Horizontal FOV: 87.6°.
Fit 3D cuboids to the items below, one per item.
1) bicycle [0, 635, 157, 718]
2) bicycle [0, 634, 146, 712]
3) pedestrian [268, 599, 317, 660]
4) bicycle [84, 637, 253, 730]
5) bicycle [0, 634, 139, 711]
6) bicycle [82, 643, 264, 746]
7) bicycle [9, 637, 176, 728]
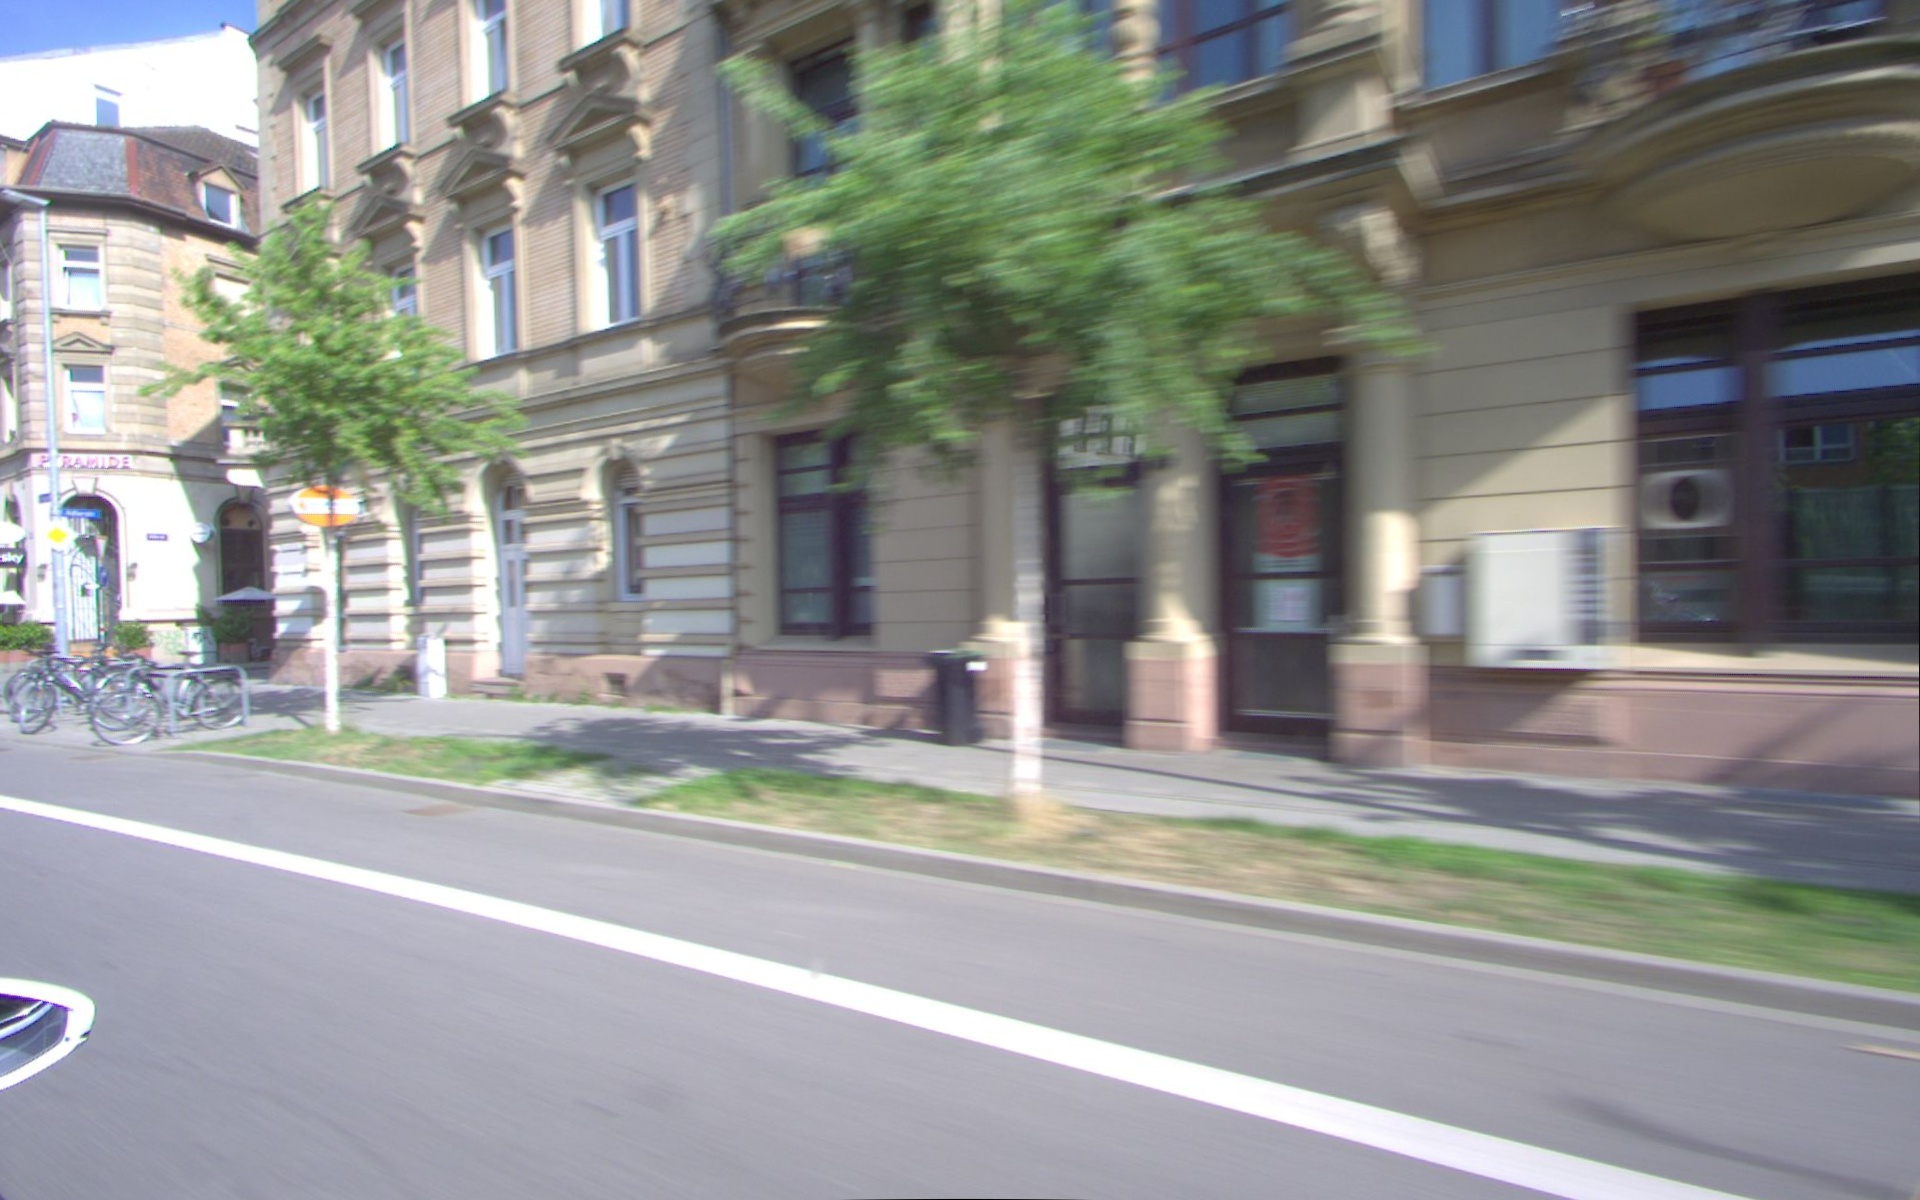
[{"bbox_3d":[-13.838,1.165,15.737,0.660,1.102,1.747,0,3,38],"label":"bicycle"},{"bbox_3d":[-14.729,1.182,16.637,0.575,1.102,1.745,0,3,36],"label":"bicycle"},{"bbox_3d":[-20.905,0.910,31.362,0.977,1.831,0.860,1,3,28],"label":"pedestrian"},{"bbox_3d":[-11.393,1.167,14.495,0.647,1.103,1.754,-1,3,24],"label":"bicycle"},{"bbox_3d":[-15.179,1.200,17.033,0.575,1.102,1.745,0,3,36],"label":"bicycle"},{"bbox_3d":[-10.355,1.203,13.256,0.601,1.103,1.754,-1,3,24],"label":"bicycle"},{"bbox_3d":[-12.733,1.176,14.777,0.660,1.103,1.758,-2,3,11],"label":"bicycle"}]
